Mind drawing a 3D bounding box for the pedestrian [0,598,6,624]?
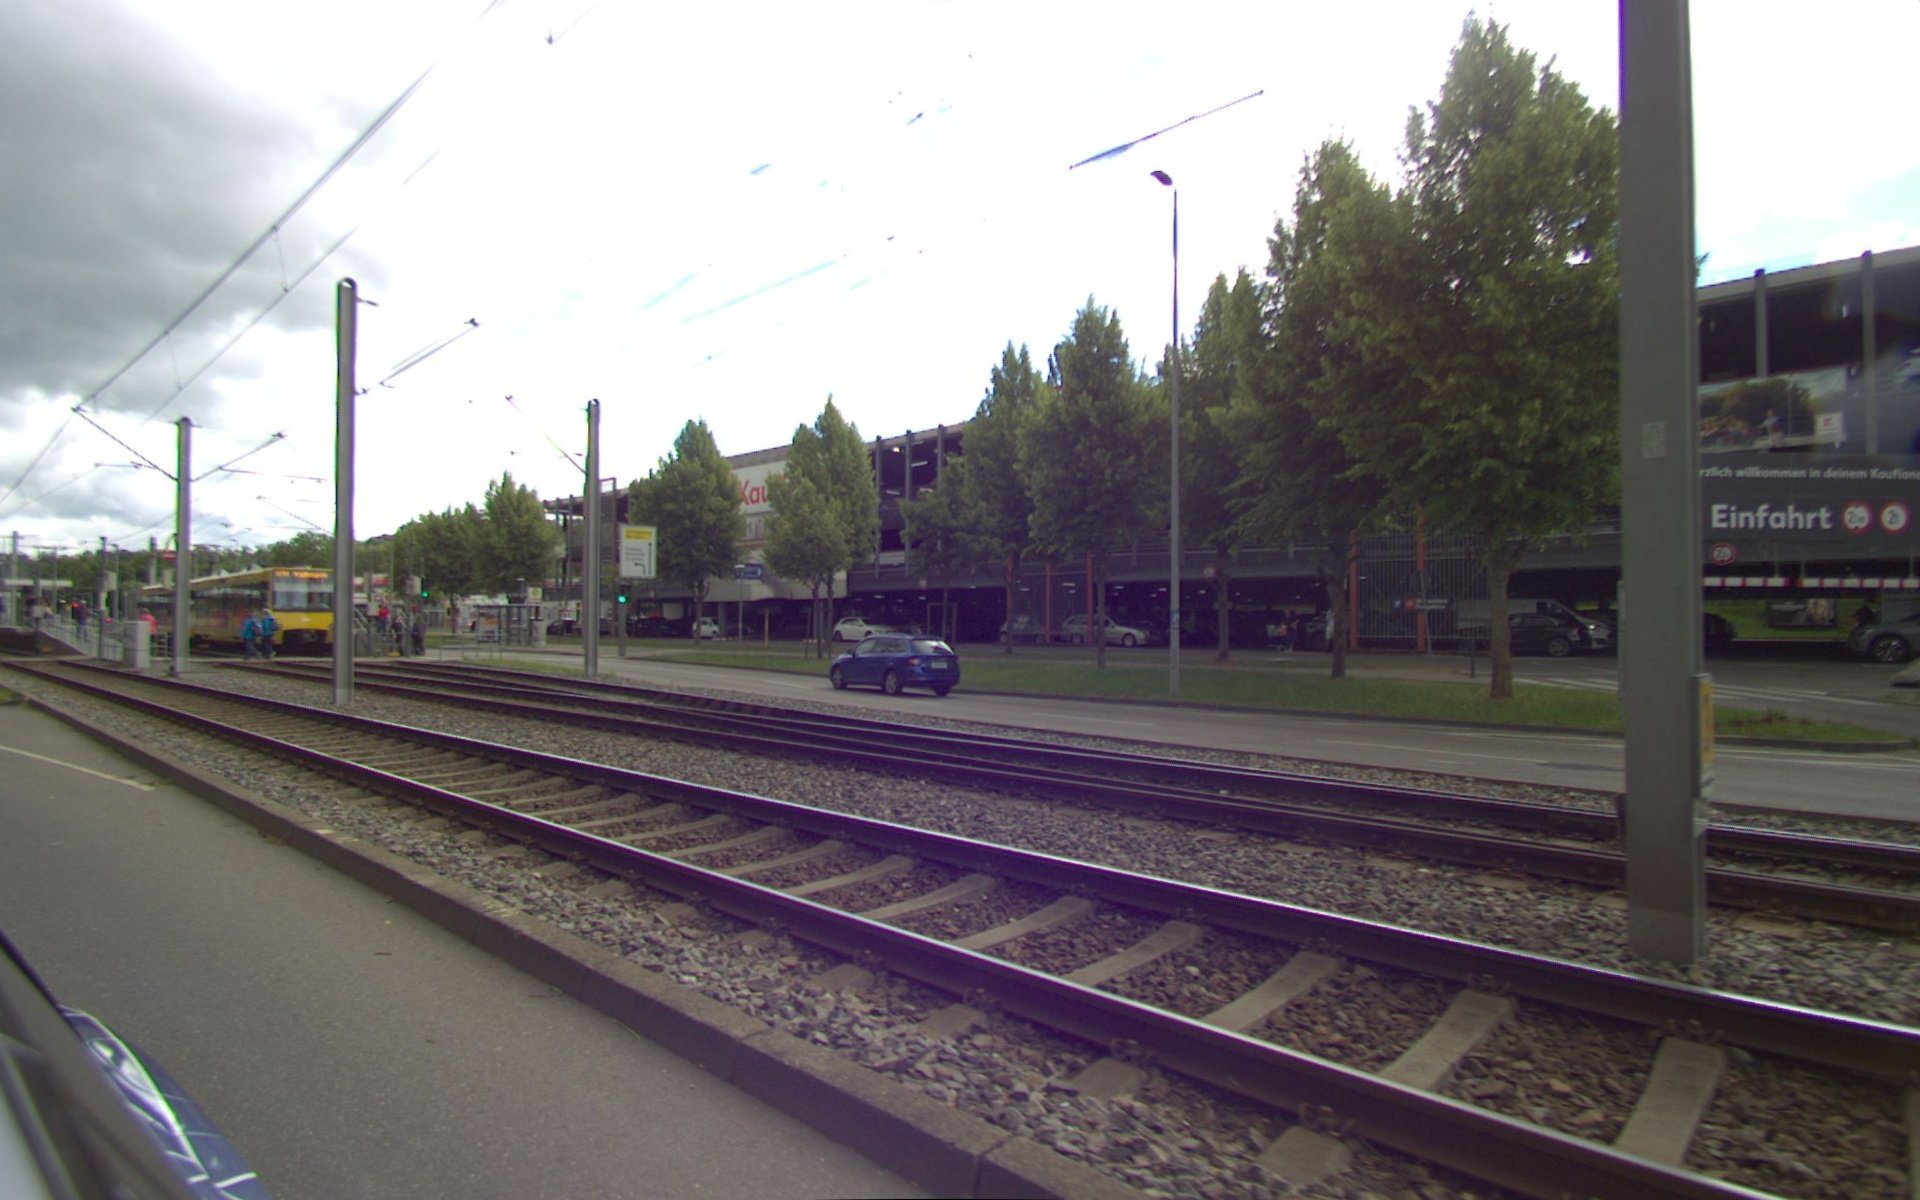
[{"bbox_3d":[-65.688,0.746,69.008,0.937,1.757,0.740,-1,-4,43],"label":"pedestrian"}]

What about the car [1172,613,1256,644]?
[{"bbox_3d":[13.334,1.487,53.204,3.889,1.528,1.821,-1,-2,43],"label":"car"}]

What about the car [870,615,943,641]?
[{"bbox_3d":[-3.141,1.603,58.572,4.197,1.443,1.821,-1,-2,43],"label":"car"}]

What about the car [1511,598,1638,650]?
[{"bbox_3d":[23.803,0.889,39.280,3.998,1.901,1.769,1,0,41],"label":"car"}]

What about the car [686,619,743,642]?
[{"bbox_3d":[-16.304,2.011,67.166,4.001,1.409,1.758,-1,-3,44],"label":"car"}]

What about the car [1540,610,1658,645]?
[{"bbox_3d":[27.086,1.167,42.963,3.998,1.400,1.769,-1,-2,41],"label":"car"}]

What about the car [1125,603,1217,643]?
[{"bbox_3d":[10.212,1.116,49.109,4.053,1.828,1.821,-1,-3,43],"label":"car"}]

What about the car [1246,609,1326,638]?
[{"bbox_3d":[18.742,1.366,58.203,4.000,1.587,1.794,-1,-3,43],"label":"car"}]

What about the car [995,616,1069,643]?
[{"bbox_3d":[3.432,1.399,48.499,3.476,1.233,1.422,-2,-2,44],"label":"car"}]

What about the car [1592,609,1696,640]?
[{"bbox_3d":[33.223,1.159,49.188,3.998,1.400,1.769,1,0,41],"label":"car"}]

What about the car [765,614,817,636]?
[{"bbox_3d":[-12.321,1.826,73.512,3.869,1.526,1.735,-1,-2,43],"label":"car"}]

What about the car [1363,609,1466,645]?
[{"bbox_3d":[19.406,1.131,43.273,3.675,1.487,1.655,-1,-2,43],"label":"car"}]

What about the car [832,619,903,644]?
[{"bbox_3d":[-5.190,1.749,56.455,4.071,1.334,1.618,-1,-2,42],"label":"car"}]

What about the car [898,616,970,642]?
[{"bbox_3d":[-1.601,1.718,60.275,4.197,1.443,1.821,-1,-3,43],"label":"car"}]

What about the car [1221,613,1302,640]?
[{"bbox_3d":[16.780,1.475,56.433,4.000,1.453,1.794,-1,-3,43],"label":"car"}]

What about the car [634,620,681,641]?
[{"bbox_3d":[-22.982,2.299,76.935,3.796,1.526,1.705,-1,-3,43],"label":"car"}]

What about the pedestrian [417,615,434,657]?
[{"bbox_3d":[-21.632,1.470,40.961,0.510,1.675,0.466,3,-3,-36],"label":"pedestrian"}]

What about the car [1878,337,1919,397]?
[{"bbox_3d":[26.605,-6.345,26.711,3.506,1.236,1.439,-1,-1,43],"label":"car"}]

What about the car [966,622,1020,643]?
[{"bbox_3d":[2.032,1.983,62.494,3.217,1.234,1.422,-1,-3,44],"label":"car"}]

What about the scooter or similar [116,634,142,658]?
[{"bbox_3d":[-28.338,1.561,34.515,0.489,0.774,0.801,3,-3,-26],"label":"scooter or similar"}]

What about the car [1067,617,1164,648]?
[{"bbox_3d":[6.898,1.424,45.084,4.071,1.315,1.618,-1,-2,42],"label":"car"}]

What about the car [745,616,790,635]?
[{"bbox_3d":[-15.952,2.084,83.854,3.796,1.526,1.705,-1,-3,43],"label":"car"}]

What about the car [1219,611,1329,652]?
[{"bbox_3d":[11.937,1.176,38.592,3.675,1.487,1.655,-1,-2,43],"label":"car"}]

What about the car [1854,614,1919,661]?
[{"bbox_3d":[26.548,0.985,26.672,4.449,1.236,1.420,-1,-2,43],"label":"car"}]

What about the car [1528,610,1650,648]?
[{"bbox_3d":[25.583,1.134,41.200,3.998,1.400,1.769,1,0,41],"label":"car"}]

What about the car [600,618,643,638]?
[{"bbox_3d":[-26.942,2.202,80.555,3.796,1.526,1.705,-1,-2,43],"label":"car"}]

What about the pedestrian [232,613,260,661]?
[{"bbox_3d":[-24.314,1.258,34.472,0.703,1.623,0.943,3,-3,-36],"label":"pedestrian"}]

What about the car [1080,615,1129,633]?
[{"bbox_3d":[10.364,1.730,72.748,3.217,1.234,1.422,-1,-3,44],"label":"car"}]

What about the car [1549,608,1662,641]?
[{"bbox_3d":[28.538,1.064,44.797,3.998,1.400,1.769,-1,-2,41],"label":"car"}]

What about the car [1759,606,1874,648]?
[{"bbox_3d":[36.246,1.156,42.868,3.625,1.668,1.629,-1,-3,43],"label":"car"}]

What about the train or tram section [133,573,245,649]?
[{"bbox_3d":[-45.968,0.784,59.940,18.638,3.912,2.725,-2,-1,45],"label":"train or tram section"}]

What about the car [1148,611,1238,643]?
[{"bbox_3d":[11.636,1.347,50.711,4.053,1.528,1.821,-1,-3,43],"label":"car"}]

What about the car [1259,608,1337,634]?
[{"bbox_3d":[19.985,1.262,59.886,4.000,1.453,1.794,-1,-3,43],"label":"car"}]

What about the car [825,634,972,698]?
[{"bbox_3d":[-1.575,1.553,24.870,1.639,1.403,3.723,1,-2,-42],"label":"car"}]

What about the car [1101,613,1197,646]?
[{"bbox_3d":[8.777,1.358,47.065,4.053,1.443,1.821,-1,-3,43],"label":"car"}]

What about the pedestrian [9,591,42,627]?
[{"bbox_3d":[-45.264,0.459,49.020,0.734,1.691,0.877,1,-3,-4],"label":"pedestrian"}]

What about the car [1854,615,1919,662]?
[{"bbox_3d":[26.540,1.005,26.649,4.449,1.236,1.439,-1,-1,43],"label":"car"}]

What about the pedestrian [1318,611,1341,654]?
[{"bbox_3d":[13.065,1.140,35.765,0.614,1.518,0.416,-2,-2,44],"label":"pedestrian"}]

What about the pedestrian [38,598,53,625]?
[{"bbox_3d":[-47.995,0.603,53.096,0.411,1.416,0.474,-1,-3,41],"label":"pedestrian"}]

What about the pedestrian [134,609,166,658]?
[{"bbox_3d":[-27.833,1.144,34.783,0.604,1.666,0.798,3,-3,-26],"label":"pedestrian"}]

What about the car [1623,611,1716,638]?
[{"bbox_3d":[39.131,1.342,55.858,3.998,1.400,1.769,-1,-2,41],"label":"car"}]

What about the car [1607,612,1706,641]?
[{"bbox_3d":[35.650,1.328,51.848,3.998,1.400,1.769,1,0,41],"label":"car"}]

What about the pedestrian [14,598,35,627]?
[{"bbox_3d":[-49.570,0.668,53.640,0.512,1.494,0.583,2,-3,-9],"label":"pedestrian"}]

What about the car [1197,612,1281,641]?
[{"bbox_3d":[15.028,1.415,54.582,4.000,1.453,1.794,-1,-3,43],"label":"car"}]

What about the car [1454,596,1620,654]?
[{"bbox_3d":[20.277,0.840,35.721,4.868,1.902,1.655,0,-1,43],"label":"car"}]

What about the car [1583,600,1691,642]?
[{"bbox_3d":[31.794,0.995,47.560,3.998,1.876,1.769,-1,-2,41],"label":"car"}]

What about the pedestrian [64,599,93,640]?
[{"bbox_3d":[-36.930,0.821,42.388,0.791,1.691,0.763,-1,-4,43],"label":"pedestrian"}]

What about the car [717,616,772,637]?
[{"bbox_3d":[-14.736,1.819,68.993,4.001,1.413,1.758,-2,-2,44],"label":"car"}]

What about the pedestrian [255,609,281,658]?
[{"bbox_3d":[-24.346,1.181,35.609,0.646,1.711,0.730,3,-3,-36],"label":"pedestrian"}]

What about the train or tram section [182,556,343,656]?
[{"bbox_3d":[-32.698,0.442,46.815,18.639,3.858,2.725,-2,-1,45],"label":"train or tram section"}]

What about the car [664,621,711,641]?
[{"bbox_3d":[-21.233,2.404,78.817,3.796,1.526,1.705,-1,-3,43],"label":"car"}]
